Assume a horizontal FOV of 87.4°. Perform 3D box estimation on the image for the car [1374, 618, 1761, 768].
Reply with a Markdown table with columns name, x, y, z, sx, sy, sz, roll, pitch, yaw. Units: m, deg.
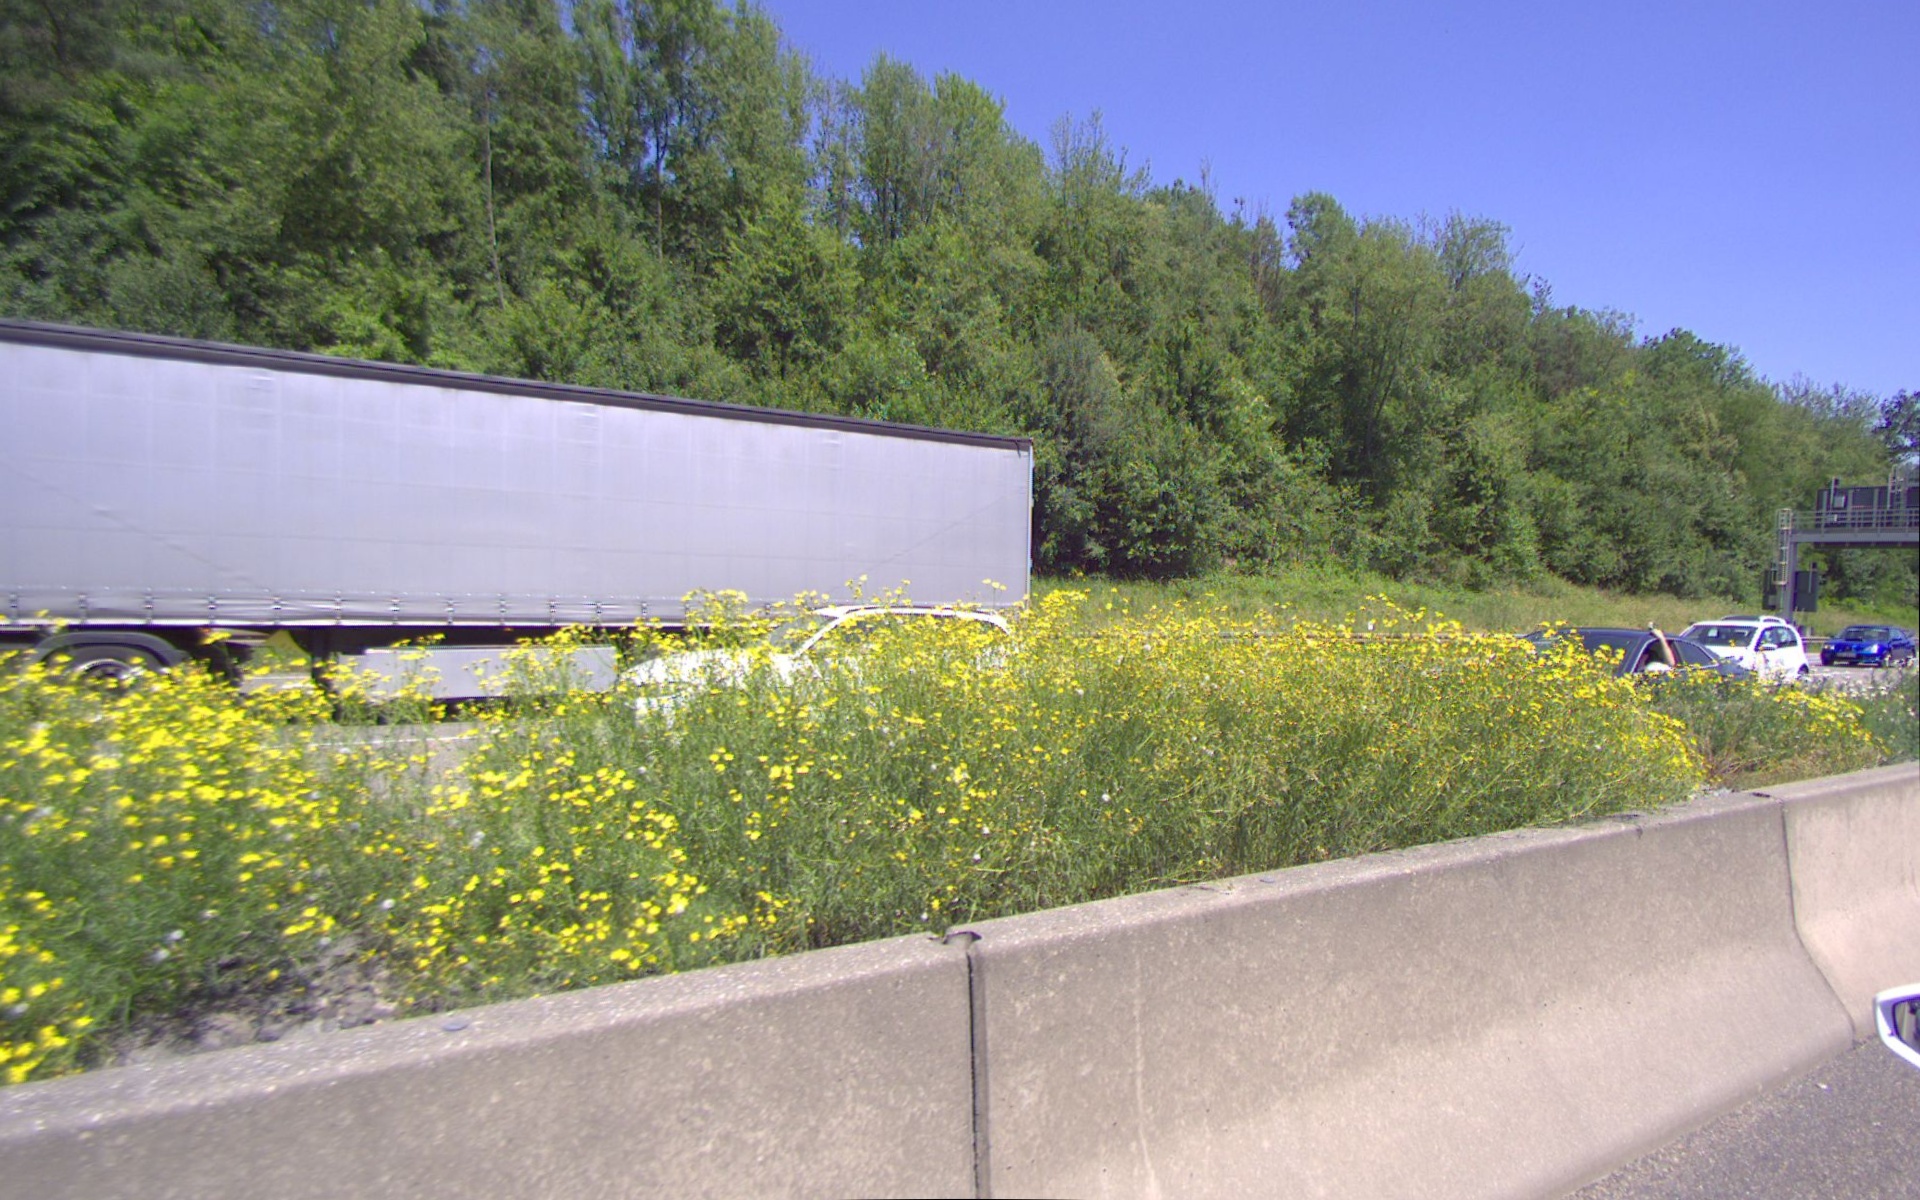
| name | x | y | z | sx | sy | sz | roll | pitch | yaw |
| --- | --- | --- | --- | --- | --- | --- | --- | --- | --- |
| car | 6.885 | 0.924 | 11.321 | 4.198 | 1.358 | 1.984 | 1 | 0 | -30 |

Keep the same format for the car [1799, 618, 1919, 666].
| name | x | y | z | sx | sy | sz | roll | pitch | yaw |
| --- | --- | --- | --- | --- | --- | --- | --- | --- | --- |
| car | 31.131 | 1.427 | 34.767 | 3.954 | 1.511 | 1.984 | 1 | 0 | -31 |

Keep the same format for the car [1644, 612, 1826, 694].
| name | x | y | z | sx | sy | sz | roll | pitch | yaw |
| --- | --- | --- | --- | --- | --- | --- | --- | --- | --- |
| car | 16.037 | 1.056 | 20.754 | 3.837 | 1.518 | 1.667 | 1 | 0 | -30 |

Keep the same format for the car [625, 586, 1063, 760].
| name | x | y | z | sx | sy | sz | roll | pitch | yaw |
| --- | --- | --- | --- | --- | --- | --- | --- | --- | --- |
| car | -1.192 | 0.667 | 10.707 | 4.198 | 1.518 | 1.984 | 1 | 0 | -30 |

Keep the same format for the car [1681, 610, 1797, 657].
| name | x | y | z | sx | sy | sz | roll | pitch | yaw |
| --- | --- | --- | --- | --- | --- | --- | --- | --- | --- |
| car | 30.511 | 1.299 | 39.308 | 4.712 | 1.714 | 1.984 | 1 | 0 | -31 |

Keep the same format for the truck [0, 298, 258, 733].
| name | x | y | z | sx | sy | sz | roll | pitch | yaw |
| --- | --- | --- | --- | --- | --- | --- | --- | --- | --- |
| truck | -10.579 | -0.810 | 9.764 | 5.940 | 3.992 | 2.813 | 1 | 0 | -32 |

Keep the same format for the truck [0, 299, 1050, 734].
| name | x | y | z | sx | sy | sz | roll | pitch | yaw |
| --- | --- | --- | --- | --- | --- | --- | --- | --- | --- |
| truck | -5.092 | -0.682 | 13.258 | 13.594 | 3.991 | 2.813 | 1 | 0 | -33 |
